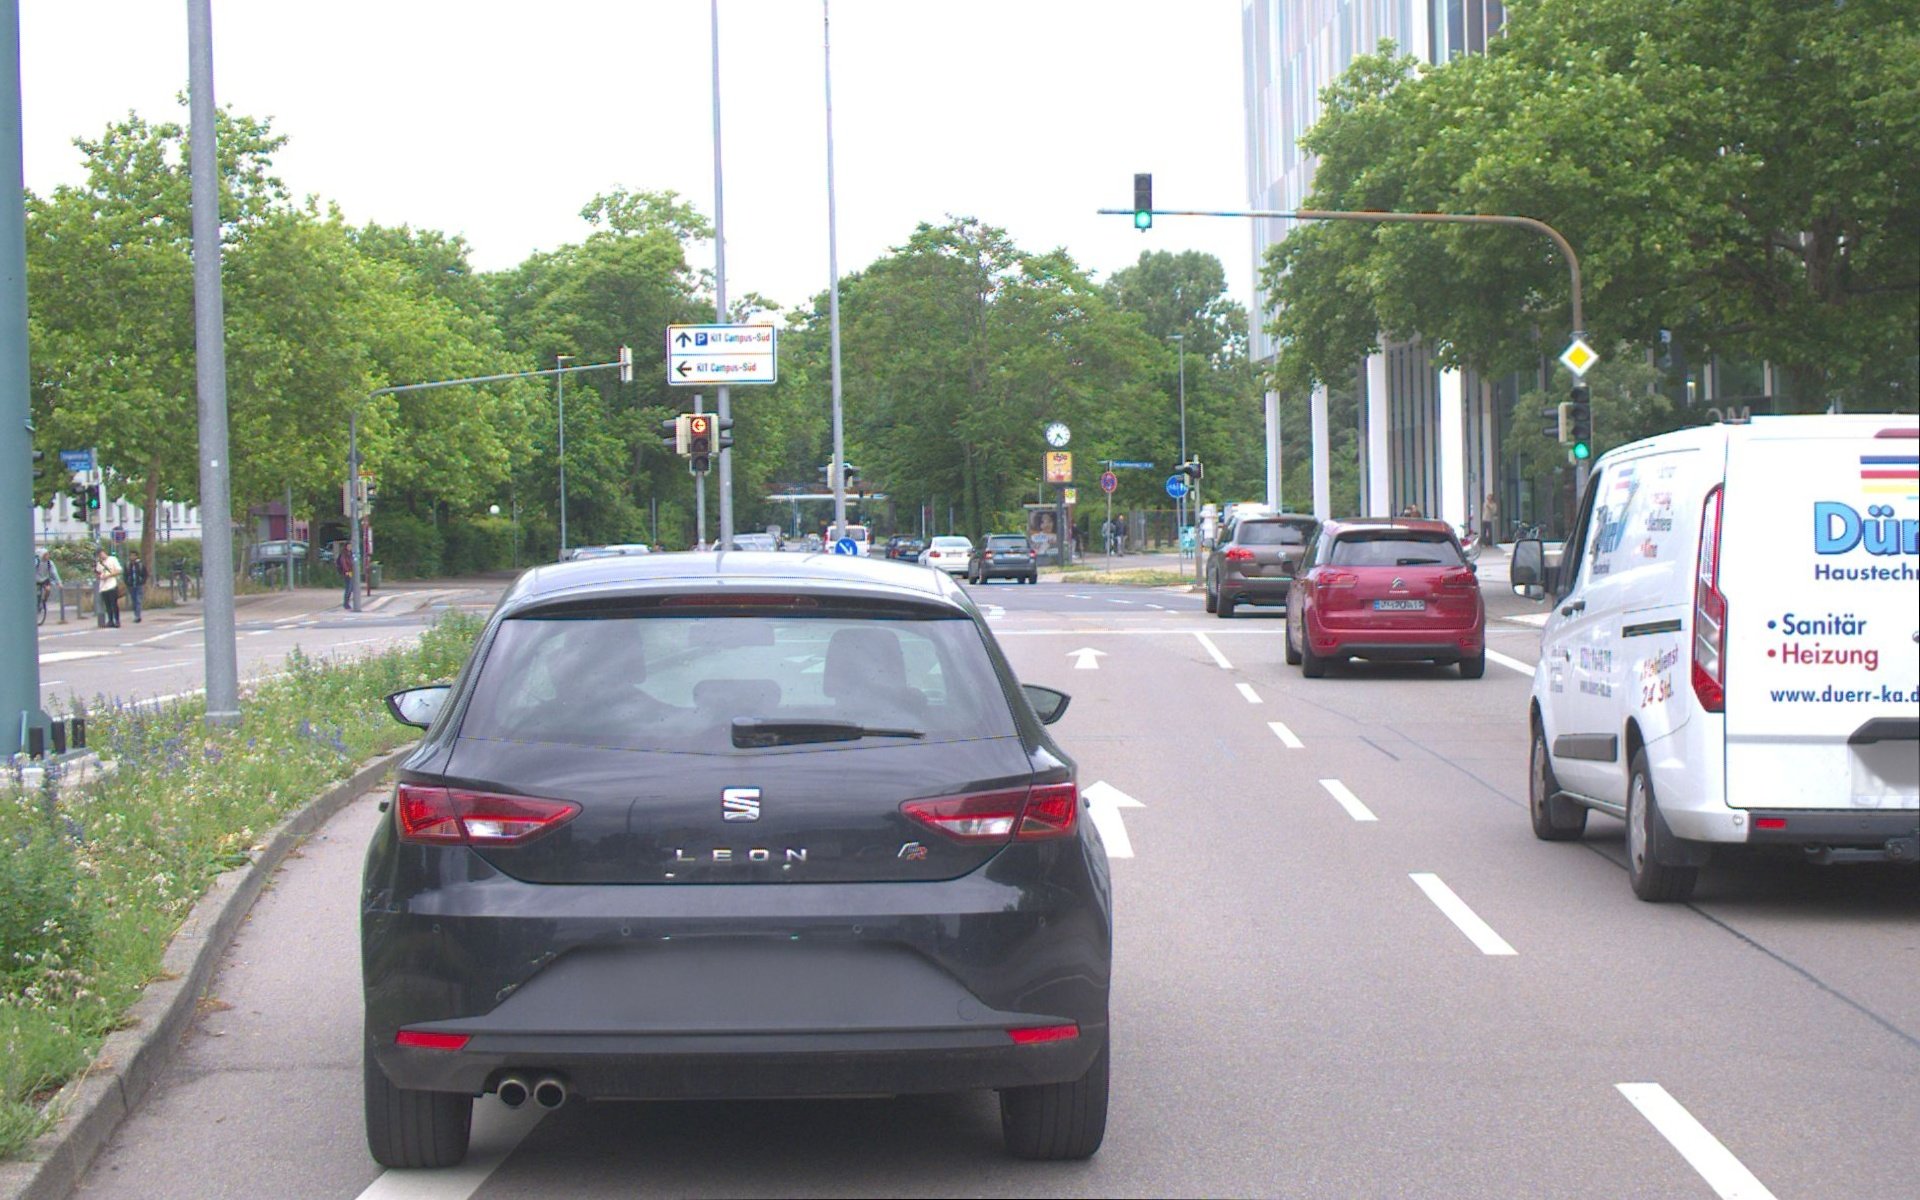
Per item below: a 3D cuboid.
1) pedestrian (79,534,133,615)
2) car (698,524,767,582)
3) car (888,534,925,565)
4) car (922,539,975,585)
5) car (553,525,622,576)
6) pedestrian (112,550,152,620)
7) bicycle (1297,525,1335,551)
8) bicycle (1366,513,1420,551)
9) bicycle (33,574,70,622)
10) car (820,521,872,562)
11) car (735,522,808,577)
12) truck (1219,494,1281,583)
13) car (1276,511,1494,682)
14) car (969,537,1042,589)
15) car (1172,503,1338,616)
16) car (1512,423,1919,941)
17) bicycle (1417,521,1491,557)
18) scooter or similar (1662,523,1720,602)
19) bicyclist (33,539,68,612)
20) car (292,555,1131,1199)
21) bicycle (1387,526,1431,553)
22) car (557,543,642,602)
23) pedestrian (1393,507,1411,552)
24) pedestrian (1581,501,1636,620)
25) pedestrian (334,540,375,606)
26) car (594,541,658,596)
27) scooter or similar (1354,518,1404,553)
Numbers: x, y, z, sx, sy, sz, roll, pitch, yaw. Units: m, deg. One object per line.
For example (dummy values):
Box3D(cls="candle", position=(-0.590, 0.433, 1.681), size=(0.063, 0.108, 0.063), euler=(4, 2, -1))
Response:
Box3D(cls="pedestrian", position=(-18.873, -0.566, 75.993), size=(0.840, 1.734, 0.830), euler=(-1, -4, -37))
Box3D(cls="car", position=(-6.185, -1.269, 93.741), size=(1.763, 1.455, 4.792), euler=(-3, 1, -3))
Box3D(cls="car", position=(-2.306, -2.180, 147.271), size=(1.505, 1.189, 3.163), euler=(-3, 2, -2))
Box3D(cls="car", position=(-0.413, -1.297, 115.669), size=(1.615, 1.349, 4.001), euler=(-4, 2, -1))
Box3D(cls="car", position=(-13.681, -1.834, 126.565), size=(1.906, 1.711, 4.000), euler=(-3, 2, 2))
Box3D(cls="pedestrian", position=(-18.756, -0.340, 77.887), size=(0.789, 1.553, 0.699), euler=(-2, -2, -18))
Box3D(cls="bicycle", position=(13.524, -2.350, 130.485), size=(1.387, 0.938, 0.487), euler=(-2, 2, 9))
Box3D(cls="bicycle", position=(14.654, -2.299, 116.318), size=(1.772, 1.207, 0.570), euler=(-4, 2, -32))
Box3D(cls="bicycle", position=(-20.493, -0.050, 77.584), size=(0.666, 1.058, 1.620), euler=(0, 0, -10))
Box3D(cls="car", position=(-4.470, -2.294, 134.276), size=(1.695, 1.498, 4.011), euler=(-3, 2, -5))
Box3D(cls="car", position=(-6.149, -1.660, 112.450), size=(1.921, 1.658, 4.398), euler=(-3, 1, 2))
Box3D(cls="truck", position=(7.580, -1.639, 90.061), size=(1.317, 2.235, 3.401), euler=(-3, 2, 2))
Box3D(cls="car", position=(4.295, -0.079, 35.249), size=(1.949, 1.618, 3.749), euler=(0, 2, 3))
Box3D(cls="car", position=(1.319, -1.087, 100.407), size=(1.899, 1.349, 3.883), euler=(-3, 2, -2))
Box3D(cls="car", position=(4.744, -0.687, 55.811), size=(1.914, 1.658, 4.115), euler=(-3, 2, -5))
Box3D(cls="car", position=(3.705, 0.257, 15.233), size=(1.966, 1.965, 4.344), euler=(0, 2, 2))
Box3D(cls="bicycle", position=(13.624, -1.685, 94.811), size=(1.886, 0.895, 0.697), euler=(-3, 2, -19))
Box3D(cls="scooter or similar", position=(11.707, -0.602, 55.038), size=(0.433, 1.175, 1.701), euler=(-3, 1, 27))
Box3D(cls="bicyclist", position=(-20.505, -0.544, 77.544), size=(0.666, 1.630, 0.962), euler=(0, 0, -10))
Box3D(cls="car", position=(-0.572, 0.601, 9.091), size=(1.753, 1.427, 3.769), euler=(0, 1, -2))
Box3D(cls="bicycle", position=(14.981, -2.018, 114.619), size=(1.437, 0.855, 0.365), euler=(-4, 2, -24))
Box3D(cls="car", position=(-9.334, -0.726, 89.257), size=(1.608, 1.376, 3.808), euler=(-3, 2, 2))
Box3D(cls="pedestrian", position=(13.789, -2.207, 107.272), size=(0.472, 1.357, 0.445), euler=(-3, 2, 12))
Box3D(cls="pedestrian", position=(9.615, -0.579, 50.971), size=(0.456, 1.733, 0.556), euler=(-4, 2, -37))
Box3D(cls="pedestrian", position=(-15.077, -0.674, 85.600), size=(0.874, 1.580, 0.543), euler=(-3, 2, -5))
Box3D(cls="car", position=(-9.490, -0.916, 97.811), size=(1.704, 1.426, 4.228), euler=(-3, 2, -5))
Box3D(cls="scooter or similar", position=(14.265, -2.180, 116.915), size=(1.671, 1.103, 0.499), euler=(-4, 2, -29))
